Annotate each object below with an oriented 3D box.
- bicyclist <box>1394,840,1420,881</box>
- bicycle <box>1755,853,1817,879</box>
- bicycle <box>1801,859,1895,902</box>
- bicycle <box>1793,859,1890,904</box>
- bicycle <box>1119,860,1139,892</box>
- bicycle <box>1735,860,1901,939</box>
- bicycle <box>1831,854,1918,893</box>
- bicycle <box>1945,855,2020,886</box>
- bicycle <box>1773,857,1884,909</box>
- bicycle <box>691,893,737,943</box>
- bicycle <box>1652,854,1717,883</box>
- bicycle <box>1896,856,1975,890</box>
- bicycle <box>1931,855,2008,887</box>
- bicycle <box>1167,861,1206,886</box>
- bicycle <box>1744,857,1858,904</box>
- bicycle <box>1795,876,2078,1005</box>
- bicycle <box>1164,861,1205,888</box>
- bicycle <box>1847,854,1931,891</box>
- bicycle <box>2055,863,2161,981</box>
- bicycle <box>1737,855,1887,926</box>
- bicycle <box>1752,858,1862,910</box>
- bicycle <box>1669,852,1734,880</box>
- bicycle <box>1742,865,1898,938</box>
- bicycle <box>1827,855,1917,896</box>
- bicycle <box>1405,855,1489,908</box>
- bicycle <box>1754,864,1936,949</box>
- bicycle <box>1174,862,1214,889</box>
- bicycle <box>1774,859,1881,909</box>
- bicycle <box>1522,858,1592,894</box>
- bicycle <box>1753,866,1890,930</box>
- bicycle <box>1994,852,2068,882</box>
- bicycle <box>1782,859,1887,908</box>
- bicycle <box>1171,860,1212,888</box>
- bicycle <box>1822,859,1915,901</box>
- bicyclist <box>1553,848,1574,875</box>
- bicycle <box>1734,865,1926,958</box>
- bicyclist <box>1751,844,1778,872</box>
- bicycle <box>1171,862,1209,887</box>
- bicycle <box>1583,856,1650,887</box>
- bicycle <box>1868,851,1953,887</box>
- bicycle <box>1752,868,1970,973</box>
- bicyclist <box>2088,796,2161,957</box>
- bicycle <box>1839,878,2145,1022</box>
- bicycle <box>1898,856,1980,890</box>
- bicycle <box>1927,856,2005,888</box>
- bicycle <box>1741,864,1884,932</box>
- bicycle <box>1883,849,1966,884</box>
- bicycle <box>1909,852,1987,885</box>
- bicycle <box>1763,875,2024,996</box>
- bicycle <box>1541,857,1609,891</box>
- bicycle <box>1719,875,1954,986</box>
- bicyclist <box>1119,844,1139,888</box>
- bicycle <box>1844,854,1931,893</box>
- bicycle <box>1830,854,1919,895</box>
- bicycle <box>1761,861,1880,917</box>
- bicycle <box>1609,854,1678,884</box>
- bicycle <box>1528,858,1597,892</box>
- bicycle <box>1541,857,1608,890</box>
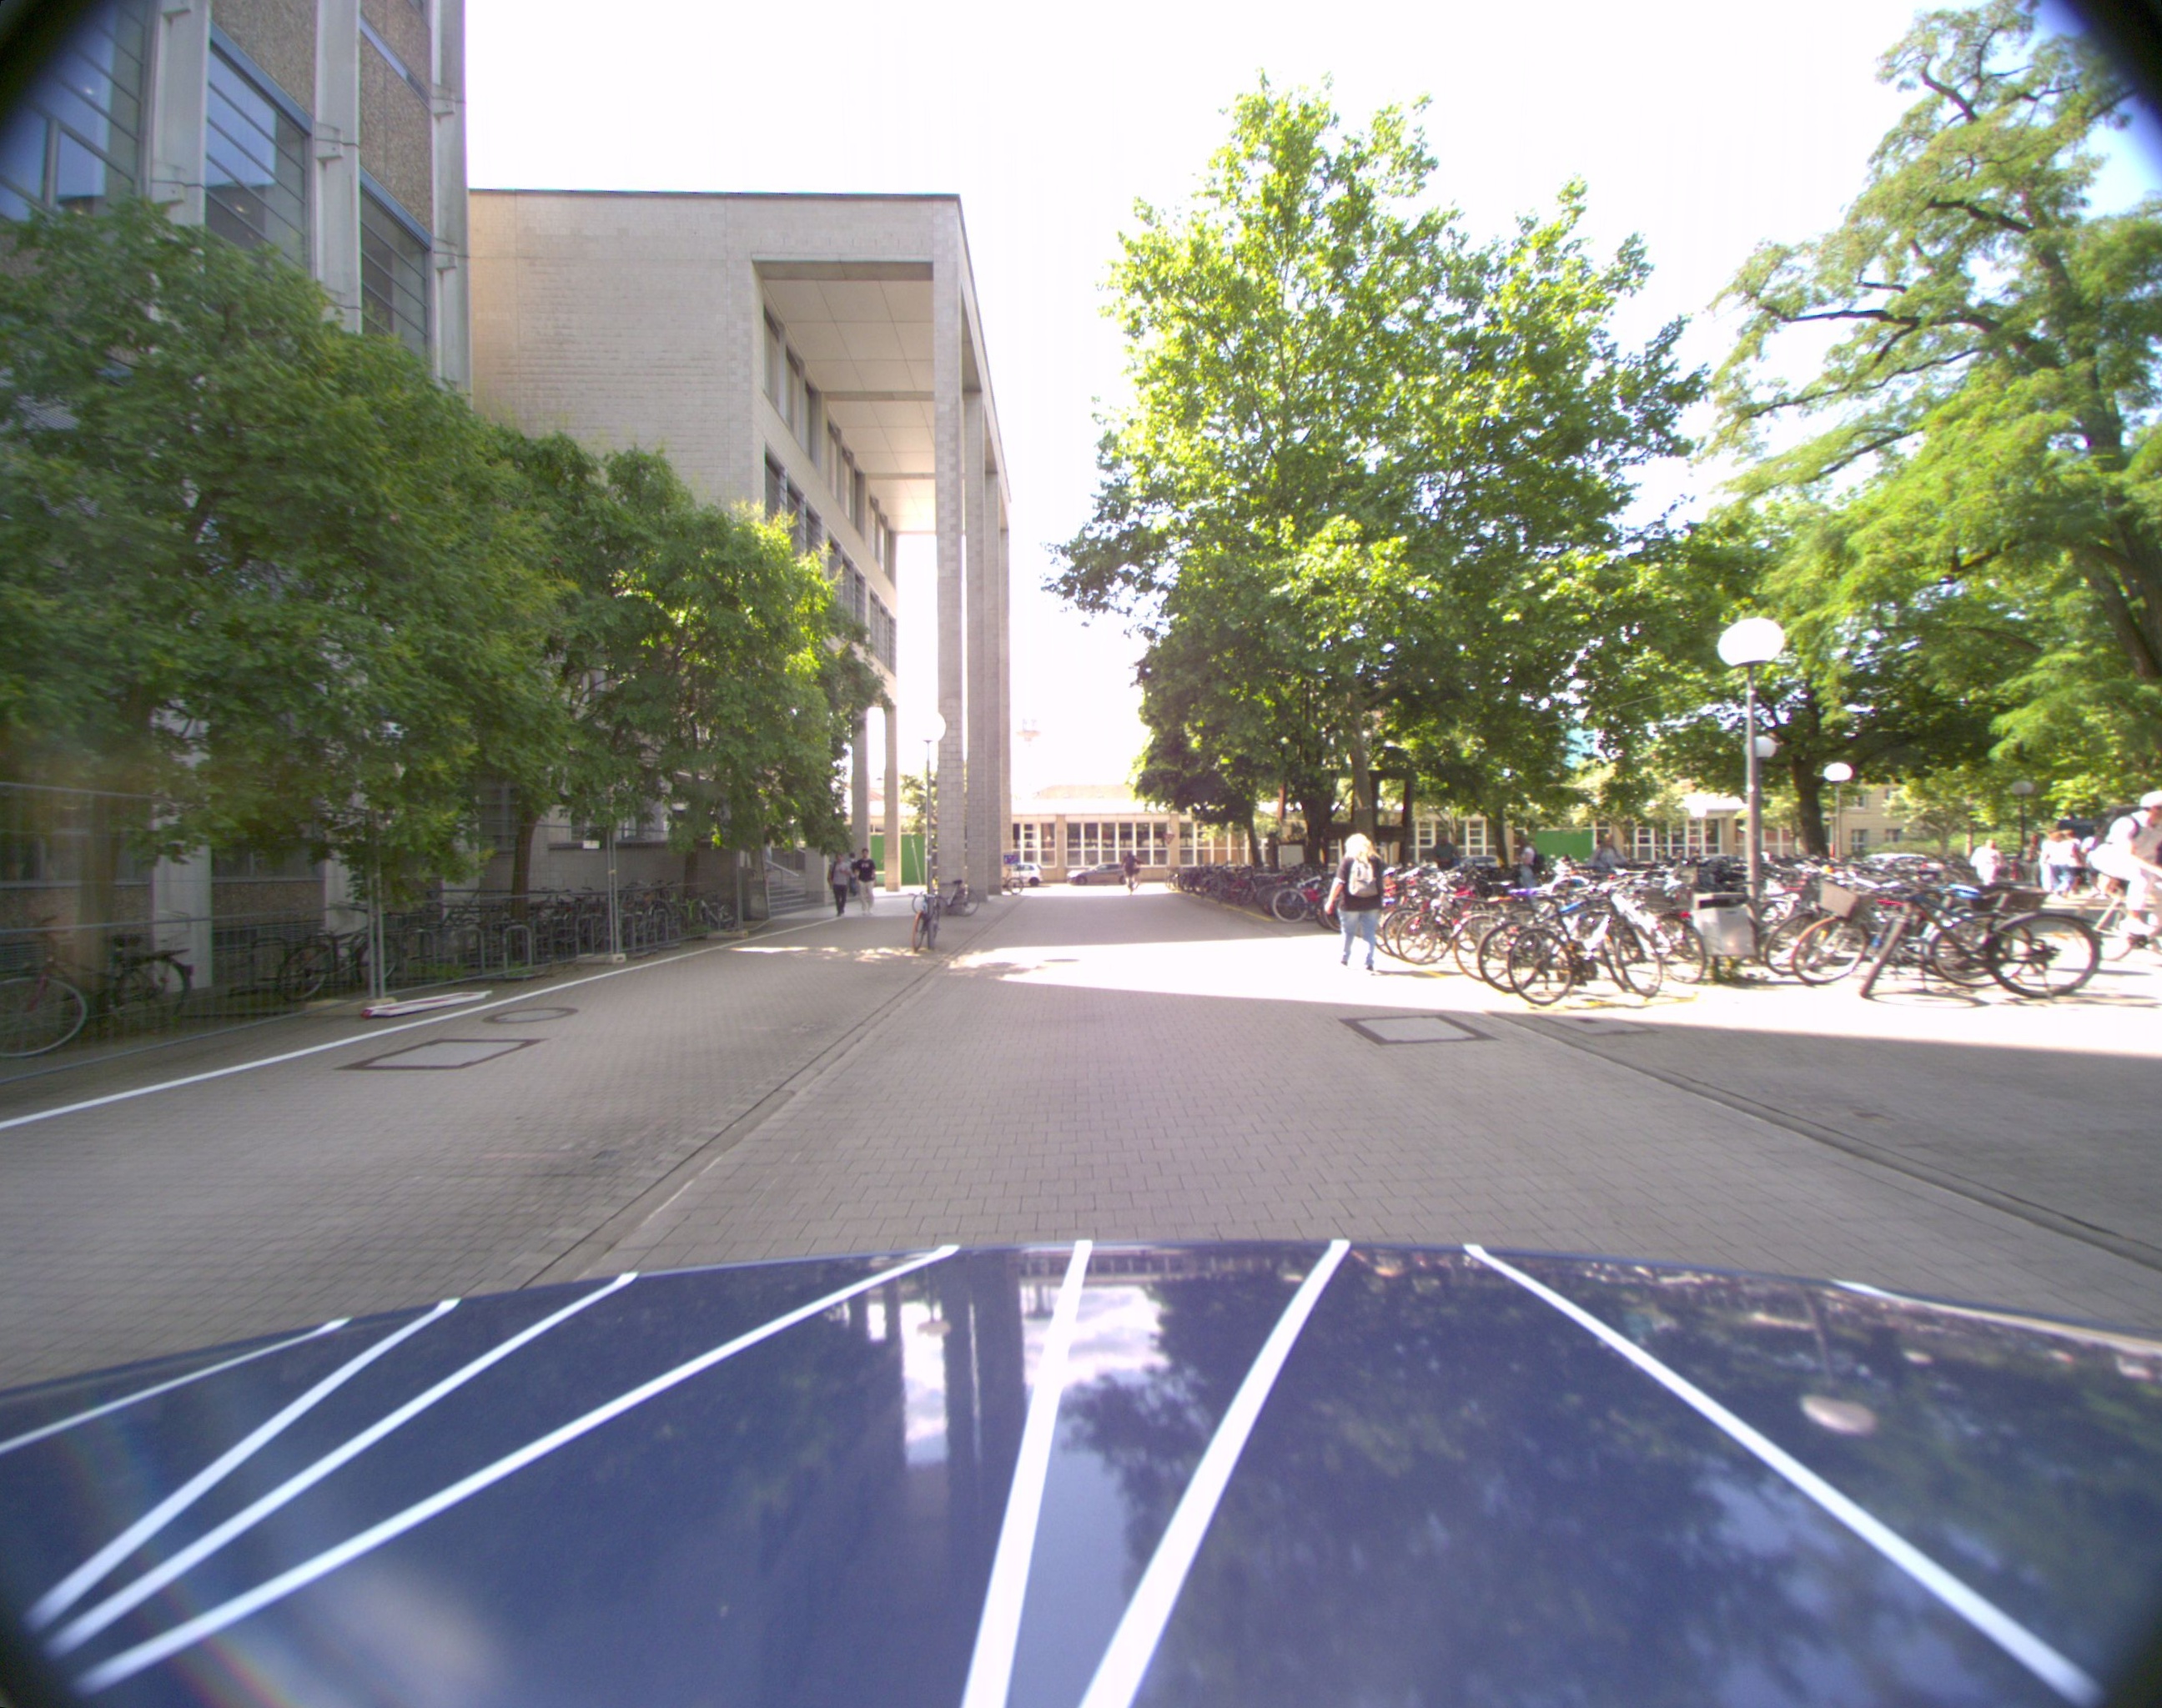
[{"bbox_3d":[15.744,0.312,36.669,0.803,1.879,0.869,-6,-4,42],"label":"bicyclist"},{"bbox_3d":[31.414,0.519,33.912,0.503,1.101,2.027,-2,1,-19],"label":"bicycle"},{"bbox_3d":[20.101,0.679,19.933,0.475,1.077,1.695,-2,1,-39],"label":"bicycle"},{"bbox_3d":[19.147,0.684,19.166,0.475,1.077,1.695,-2,1,-39],"label":"bicycle"},{"bbox_3d":[1.917,0.856,30.263,0.773,1.144,2.108,0,1,4],"label":"bicycle"},{"bbox_3d":[10.827,0.650,11.234,1.695,1.077,0.475,-1,1,35],"label":"bicycle"},{"bbox_3d":[22.827,0.561,21.873,0.475,1.077,1.695,-2,1,-39],"label":"bicycle"},{"bbox_3d":[32.448,0.590,27.373,0.475,1.077,1.696,-2,1,-29],"label":"bicycle"},{"bbox_3d":[16.510,0.616,16.813,0.475,1.077,1.695,-2,1,-39],"label":"bicycle"},{"bbox_3d":[-7.433,1.273,15.433,0.291,0.900,1.447,-1,0,-4],"label":"bicycle"},{"bbox_3d":[24.514,0.575,30.917,0.503,1.101,2.026,-2,1,-27],"label":"bicycle"},{"bbox_3d":[28.515,0.613,25.386,0.475,1.077,1.696,-2,1,-29],"label":"bicycle"},{"bbox_3d":[31.440,0.596,26.907,0.475,1.077,1.696,-2,1,-29],"label":"bicycle"},{"bbox_3d":[4.619,0.853,33.320,1.628,1.101,0.497,-1,-1,-1],"label":"bicycle"},{"bbox_3d":[15.510,0.556,16.403,0.453,0.956,1.735,-2,1,-39],"label":"bicycle"},{"bbox_3d":[7.628,0.756,6.849,1.721,1.077,0.474,-1,1,14],"label":"bicycle"},{"bbox_3d":[4.360,0.859,32.060,1.628,1.101,0.497,-1,1,4],"label":"bicycle"},{"bbox_3d":[24.568,0.541,23.140,0.475,1.077,1.696,-2,1,-29],"label":"bicycle"},{"bbox_3d":[10.823,0.652,7.652,0.602,1.077,1.702,-1,1,28],"label":"bicycle"},{"bbox_3d":[11.861,0.580,12.394,1.695,1.077,0.475,-1,1,35],"label":"bicycle"},{"bbox_3d":[15.925,0.647,16.702,0.475,1.077,1.695,-2,1,-39],"label":"bicycle"},{"bbox_3d":[25.580,0.501,31.357,0.503,1.101,2.026,-2,1,-27],"label":"bicycle"},{"bbox_3d":[11.602,0.731,11.997,1.695,1.077,0.475,-1,1,35],"label":"bicycle"},{"bbox_3d":[21.829,0.588,20.998,0.475,1.077,1.695,-2,1,-39],"label":"bicycle"},{"bbox_3d":[8.715,0.636,18.138,0.577,1.193,1.695,-2,1,-40],"label":"bicycle"},{"bbox_3d":[10.329,0.685,10.356,1.695,1.077,0.475,-1,1,38],"label":"bicycle"},{"bbox_3d":[4.841,0.932,32.542,1.627,1.101,0.497,-1,-2,11],"label":"bicycle"},{"bbox_3d":[17.076,0.676,17.411,0.475,1.077,1.695,-2,1,-39],"label":"bicycle"},{"bbox_3d":[15.650,0.710,25.024,0.503,1.101,1.902,-2,1,-33],"label":"bicycle"},{"bbox_3d":[13.203,0.761,13.601,1.695,1.077,0.475,-1,1,35],"label":"bicycle"},{"bbox_3d":[35.794,0.478,28.650,0.475,1.077,1.696,-2,1,-29],"label":"bicycle"},{"bbox_3d":[17.565,0.664,17.755,0.475,1.077,1.695,-2,1,-39],"label":"bicycle"},{"bbox_3d":[4.564,0.831,31.491,1.628,1.101,0.497,-1,1,4],"label":"bicycle"},{"bbox_3d":[21.057,0.678,20.354,0.475,1.077,1.695,-2,1,-39],"label":"bicycle"},{"bbox_3d":[27.072,0.414,42.641,0.727,1.526,0.605,0,2,1],"label":"bicyclist"},{"bbox_3d":[9.407,0.691,9.636,1.695,1.077,0.475,-1,1,41],"label":"bicycle"},{"bbox_3d":[37.899,0.206,42.128,0.874,1.565,0.640,0,2,-4],"label":"bicyclist"},{"bbox_3d":[4.915,0.912,34.217,1.628,1.101,0.497,-1,-1,-1],"label":"bicycle"},{"bbox_3d":[19.953,0.634,28.350,0.503,1.101,2.001,-2,1,-31],"label":"bicycle"},{"bbox_3d":[25.561,0.447,23.440,0.475,1.077,1.696,-2,1,-29],"label":"bicycle"},{"bbox_3d":[8.787,0.714,8.663,1.695,1.077,0.475,-1,1,41],"label":"bicycle"},{"bbox_3d":[10.781,0.207,7.605,0.594,1.559,0.723,-1,1,28],"label":"bicyclist"},{"bbox_3d":[7.515,0.776,6.334,1.697,1.104,0.474,-1,1,12],"label":"bicycle"},{"bbox_3d":[27.908,0.607,24.737,0.475,1.077,1.696,-2,1,-29],"label":"bicycle"},{"bbox_3d":[30.542,0.602,26.257,0.475,1.077,1.696,-2,1,-29],"label":"bicycle"},{"bbox_3d":[12.388,0.726,12.927,1.695,1.077,0.475,-1,1,35],"label":"bicycle"},{"bbox_3d":[26.657,0.386,24.032,0.475,1.077,1.696,-2,1,-29],"label":"bicycle"},{"bbox_3d":[29.549,0.500,25.913,0.475,1.077,1.696,-2,1,-29],"label":"bicycle"},{"bbox_3d":[7.800,0.765,7.371,1.696,1.077,0.475,-1,1,19],"label":"bicycle"},{"bbox_3d":[16.675,0.672,25.691,0.503,1.101,1.902,-2,1,-31],"label":"bicycle"},{"bbox_3d":[7.812,0.775,7.931,1.696,1.077,0.475,-1,1,19],"label":"bicycle"},{"bbox_3d":[1.913,0.459,30.236,0.773,1.706,0.911,0,2,4],"label":"bicyclist"},{"bbox_3d":[23.600,0.558,22.269,0.475,1.077,1.695,-2,1,-34],"label":"bicycle"},{"bbox_3d":[22.350,0.568,21.432,0.475,1.077,1.695,-2,1,-39],"label":"bicycle"},{"bbox_3d":[14.880,0.688,15.344,1.695,1.077,0.475,-1,1,42],"label":"bicycle"},{"bbox_3d":[21.156,0.562,28.611,0.503,1.101,2.025,-2,1,-33],"label":"bicycle"},{"bbox_3d":[16.060,0.685,25.387,0.503,1.101,1.902,-2,1,-33],"label":"bicycle"},{"bbox_3d":[16.995,0.652,26.216,0.503,1.101,1.902,-2,1,-31],"label":"bicycle"}]
